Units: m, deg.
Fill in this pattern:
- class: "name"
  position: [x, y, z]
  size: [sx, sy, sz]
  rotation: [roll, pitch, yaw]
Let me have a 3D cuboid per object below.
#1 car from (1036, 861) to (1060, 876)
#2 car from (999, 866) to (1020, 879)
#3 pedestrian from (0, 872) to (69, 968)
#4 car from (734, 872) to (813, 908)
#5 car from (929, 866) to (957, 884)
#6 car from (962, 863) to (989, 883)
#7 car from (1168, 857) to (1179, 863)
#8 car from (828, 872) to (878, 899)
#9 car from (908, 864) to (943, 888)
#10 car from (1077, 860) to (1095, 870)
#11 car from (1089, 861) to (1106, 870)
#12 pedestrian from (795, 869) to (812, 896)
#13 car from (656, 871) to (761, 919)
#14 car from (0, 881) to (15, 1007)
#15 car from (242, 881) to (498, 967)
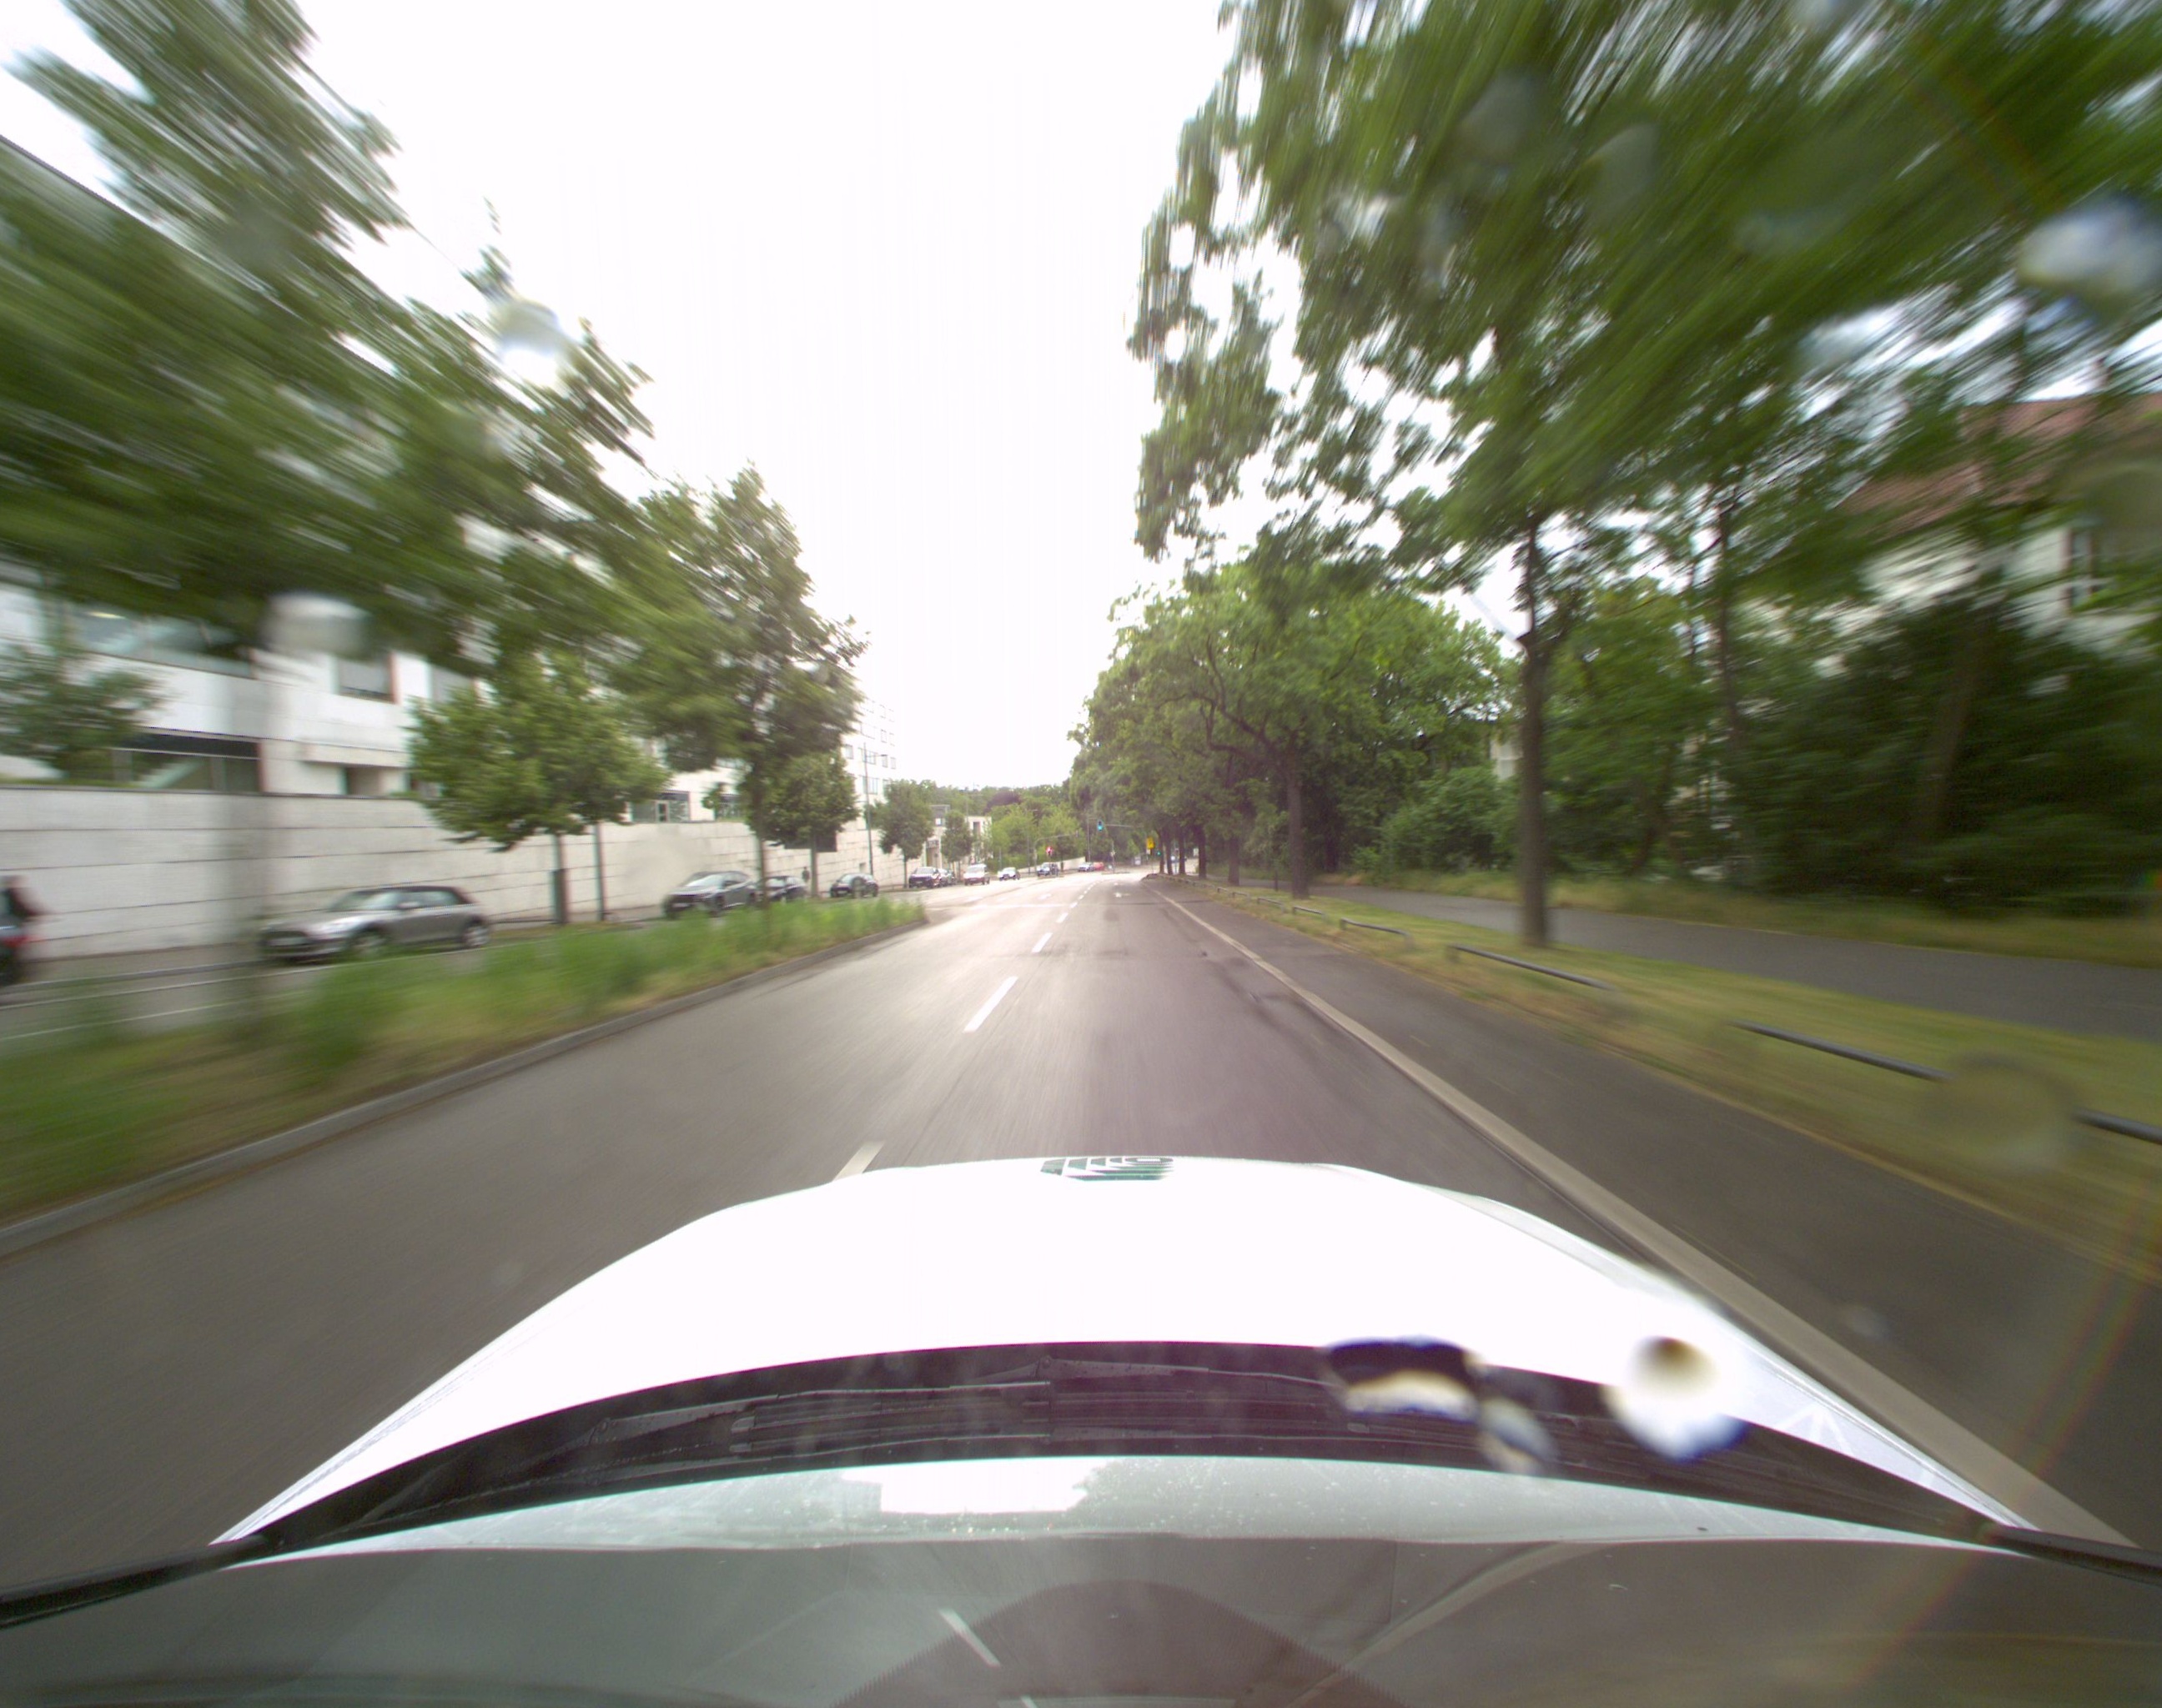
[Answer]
- class: "car"
  position: [-4.571, 2.043, 114.170]
  size: [1.906, 1.857, 4.525]
  rotation: [-6, -1, 15]
- class: "car"
  position: [-8.123, 2.098, 92.280]
  size: [1.763, 1.381, 4.192]
  rotation: [-4, -1, 2]
- class: "pedestrian"
  position: [-20.131, 1.243, 15.540]
  size: [0.716, 1.775, 0.692]
  rotation: [-2, 0, 1]
- class: "car"
  position: [-13.559, 1.552, 36.131]
  size: [1.688, 1.360, 4.166]
  rotation: [-2, 0, 3]
- class: "car"
  position: [-12.076, 1.841, 71.591]
  size: [1.672, 1.515, 3.712]
  rotation: [-1, -1, 2]
- class: "car"
  position: [-9.433, 1.681, 73.337]
  size: [1.704, 1.746, 4.338]
  rotation: [-2, 0, 1]
- class: "car"
  position: [22.688, 1.391, 199.765]
  size: [1.698, 1.461, 3.769]
  rotation: [-1, -1, 21]
- class: "car"
  position: [-13.062, 1.779, 46.829]
  size: [1.673, 1.426, 3.966]
  rotation: [-1, -1, 1]
- class: "car"
  position: [-12.529, 1.726, 65.799]
  size: [1.850, 1.781, 4.596]
  rotation: [-2, -1, 1]
- class: "car"
  position: [0.859, 1.965, 140.960]
  size: [1.838, 1.640, 4.113]
  rotation: [1, 1, 19]
- class: "car"
  position: [2.996, 2.063, 148.104]
  size: [1.860, 1.575, 4.242]
  rotation: [0, 0, 17]
- class: "pedestrian"
  position: [-18.579, 1.880, 54.579]
  size: [0.705, 1.774, 1.022]
  rotation: [-2, -1, 2]
- class: "car"
  position: [-13.699, 1.457, 30.240]
  size: [1.696, 1.620, 4.364]
  rotation: [-2, -1, 2]
- class: "car"
  position: [-14.545, 1.108, 8.400]
  size: [1.688, 1.581, 4.019]
  rotation: [-1, -1, 2]
- class: "car"
  position: [-14.307, 1.343, 16.728]
  size: [1.687, 1.444, 3.864]
  rotation: [-1, 0, 4]
